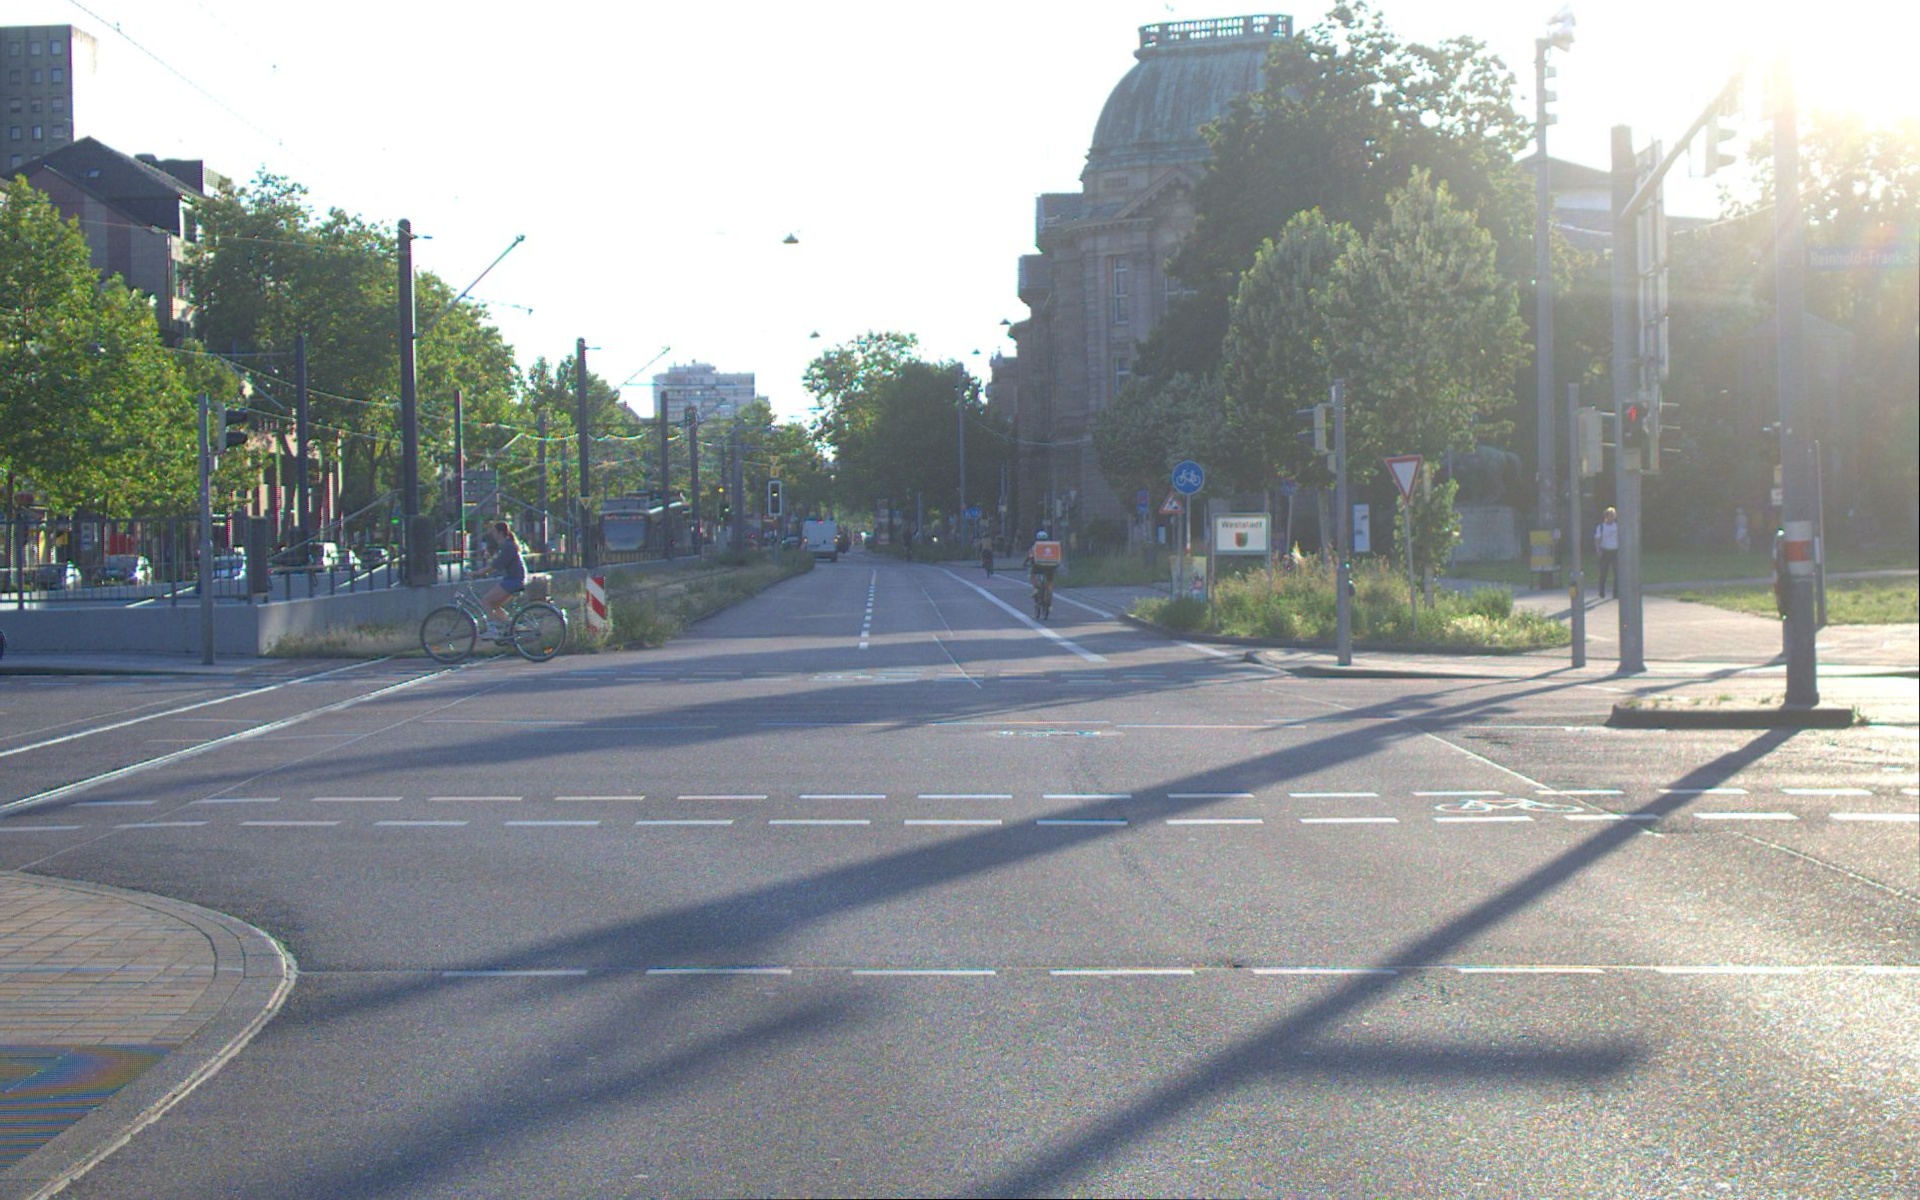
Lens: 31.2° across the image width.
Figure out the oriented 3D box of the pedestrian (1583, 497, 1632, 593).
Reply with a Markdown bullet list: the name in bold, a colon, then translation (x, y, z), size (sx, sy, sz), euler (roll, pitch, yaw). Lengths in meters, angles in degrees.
- **pedestrian**: translation (12.213, -1.042, 64.809), size (0.833, 1.797, 0.810), euler (-1, 1, 15)

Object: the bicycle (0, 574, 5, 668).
- **bicycle**: translation (-11.980, 0.254, 39.489), size (1.900, 1.071, 0.632), euler (-1, 1, -14)

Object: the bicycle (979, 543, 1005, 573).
- **bicycle**: translation (1.205, -1.593, 130.909), size (0.924, 1.108, 2.333), euler (-1, 1, -1)

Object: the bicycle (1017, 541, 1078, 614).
- **bicycle**: translation (1.710, -0.467, 67.708), size (1.098, 1.394, 2.832), euler (-1, 1, -1)

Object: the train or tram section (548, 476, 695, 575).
- **train or tram section**: translation (-14.509, -3.293, 148.631), size (4.387, 3.836, 11.410), euler (-1, 3, 4)

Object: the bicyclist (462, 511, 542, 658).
- **bicyclist**: translation (-5.704, -0.201, 42.837), size (0.876, 1.812, 0.538), euler (-1, 1, 5)

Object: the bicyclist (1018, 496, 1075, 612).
- **bicyclist**: translation (1.701, -0.905, 67.685), size (1.082, 2.268, 0.986), euler (0, 1, -1)

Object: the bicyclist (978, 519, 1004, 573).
- **bicyclist**: translation (1.178, -2.056, 130.946), size (0.925, 2.007, 0.850), euler (-1, 1, -1)

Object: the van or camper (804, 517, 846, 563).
- **van or camper**: translation (-8.234, -3.643, 209.645), size (2.449, 2.761, 5.601), euler (-1, 1, -2)

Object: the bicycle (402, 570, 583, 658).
- **bicycle**: translation (-5.825, 0.170, 42.859), size (2.164, 1.080, 0.539), euler (0, 0, 5)
